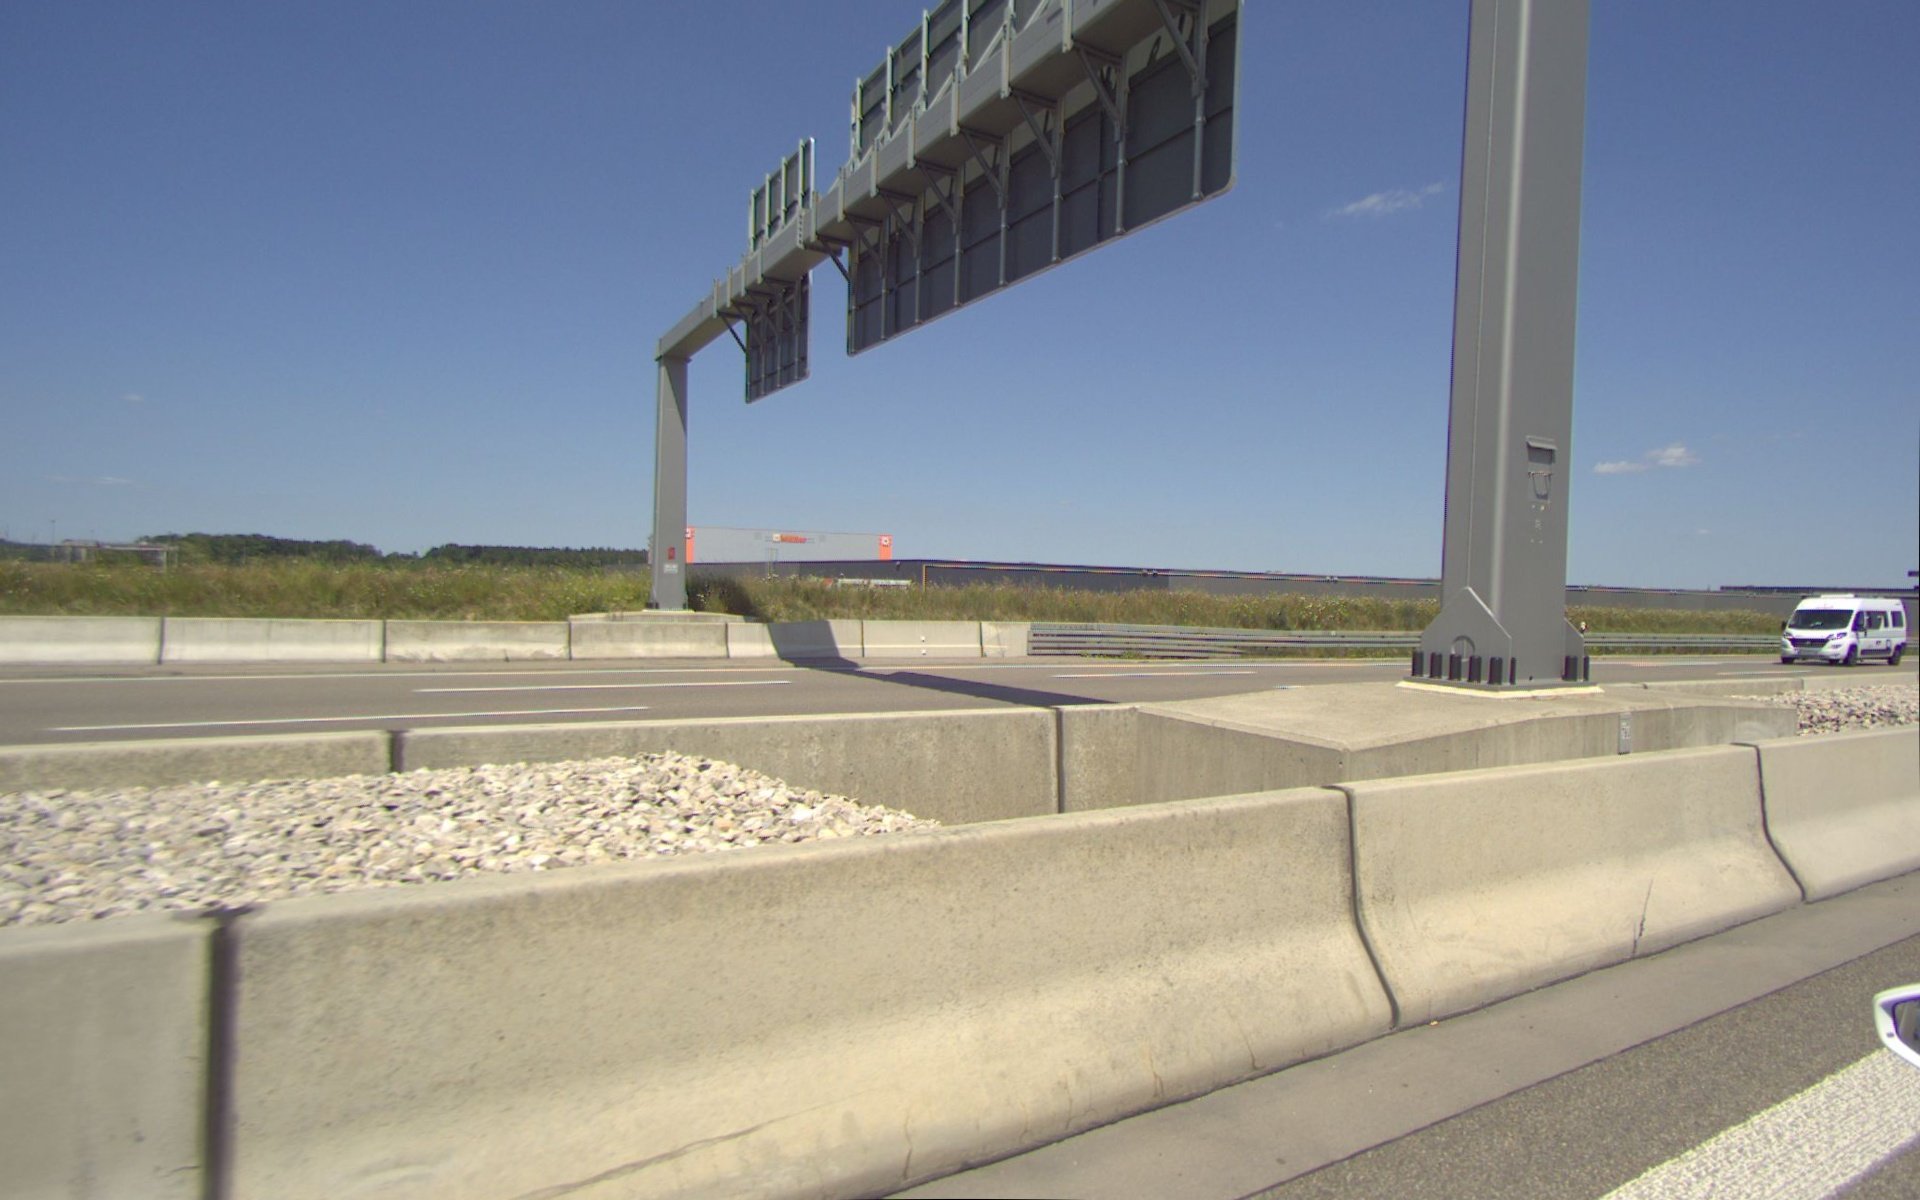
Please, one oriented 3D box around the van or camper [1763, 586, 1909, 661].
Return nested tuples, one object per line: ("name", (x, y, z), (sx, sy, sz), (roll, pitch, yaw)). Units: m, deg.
("van or camper", (32.757, 0.874, 37.516), (6.244, 2.592, 2.307), (1, 0, -31))
